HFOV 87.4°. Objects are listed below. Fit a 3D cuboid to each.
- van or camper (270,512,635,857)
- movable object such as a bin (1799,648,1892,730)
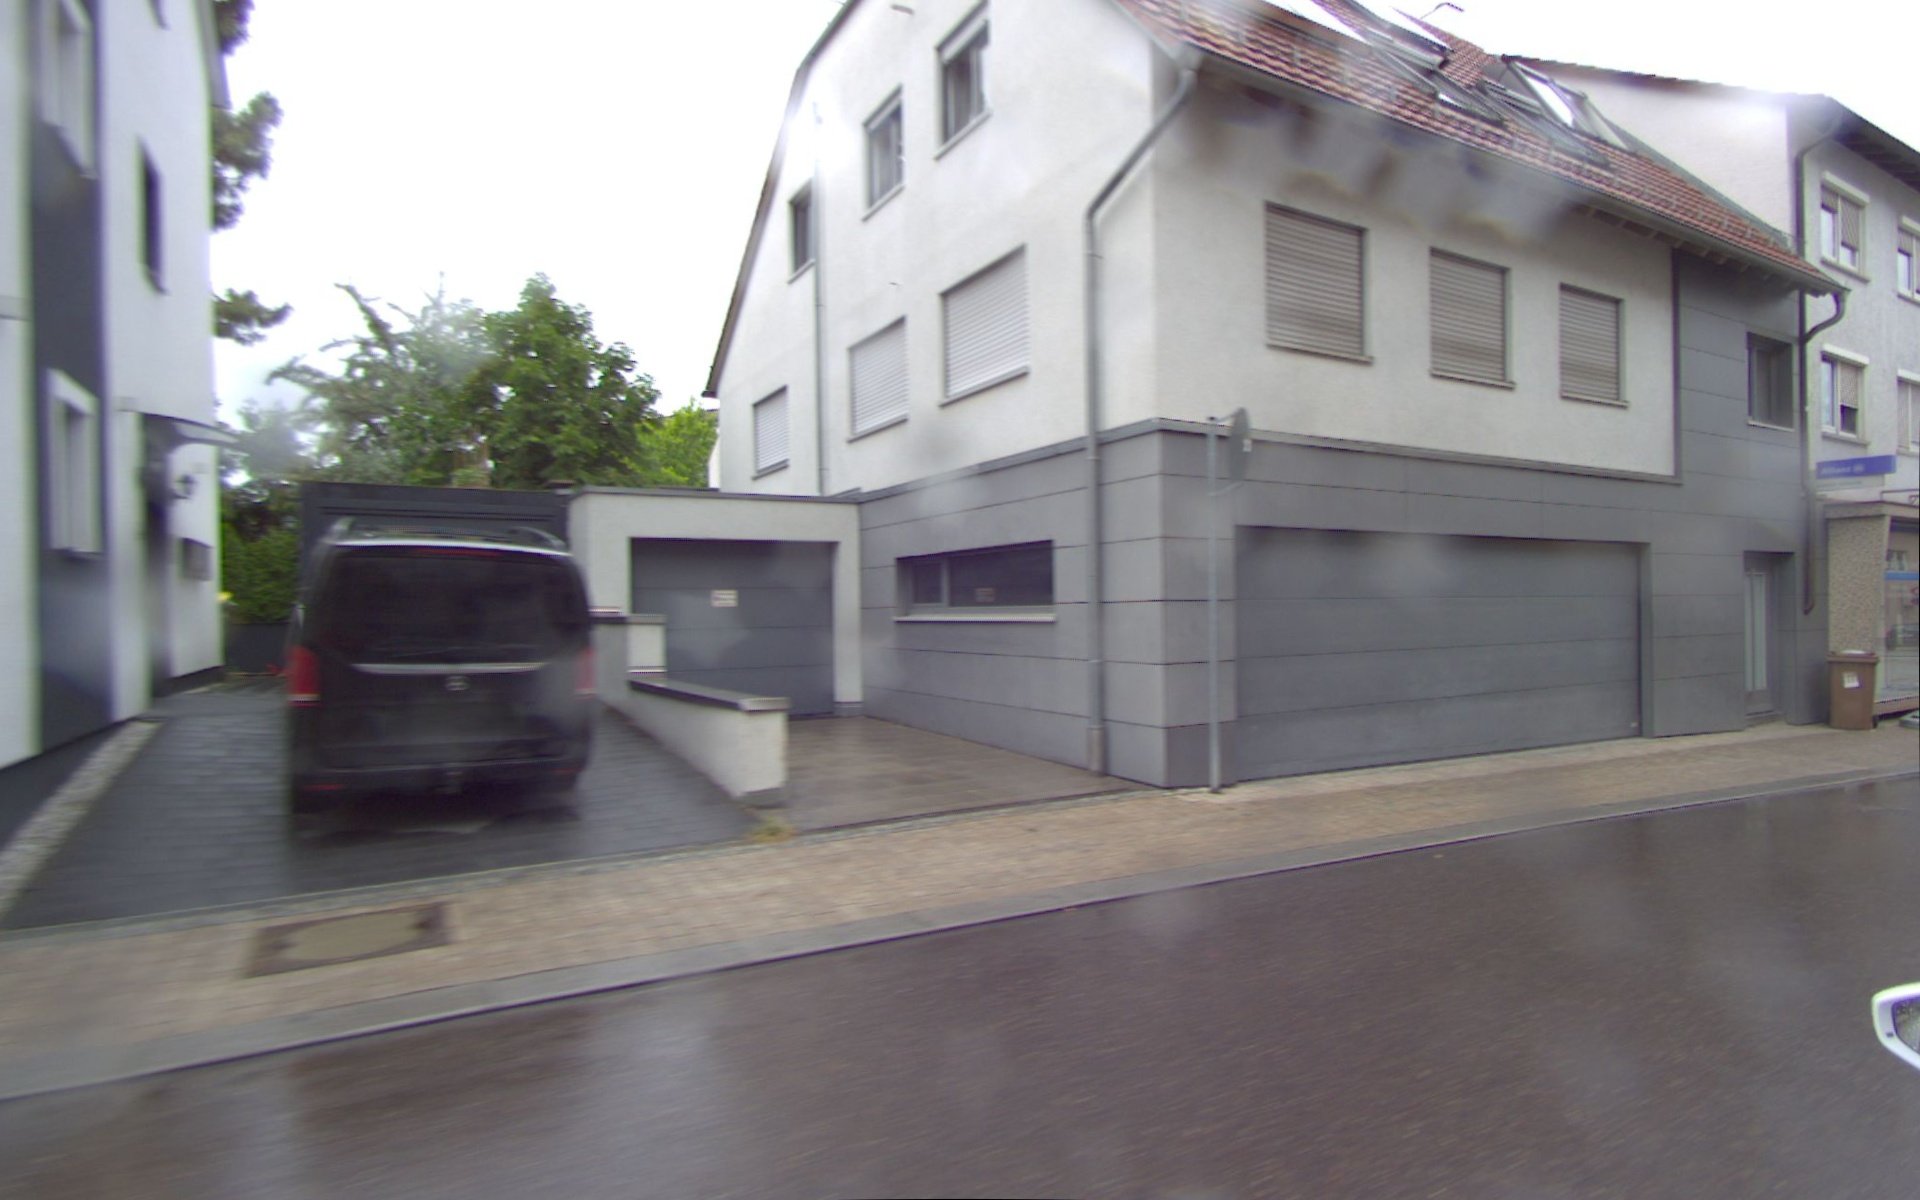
[{"bbox_3d":[-4.302,0.330,8.415,1.976,1.959,4.999,2,4,-30],"label":"van or camper"},{"bbox_3d":[12.483,1.235,14.168,0.693,1.073,0.789,1,0,-30],"label":"movable object such as a bin"}]
